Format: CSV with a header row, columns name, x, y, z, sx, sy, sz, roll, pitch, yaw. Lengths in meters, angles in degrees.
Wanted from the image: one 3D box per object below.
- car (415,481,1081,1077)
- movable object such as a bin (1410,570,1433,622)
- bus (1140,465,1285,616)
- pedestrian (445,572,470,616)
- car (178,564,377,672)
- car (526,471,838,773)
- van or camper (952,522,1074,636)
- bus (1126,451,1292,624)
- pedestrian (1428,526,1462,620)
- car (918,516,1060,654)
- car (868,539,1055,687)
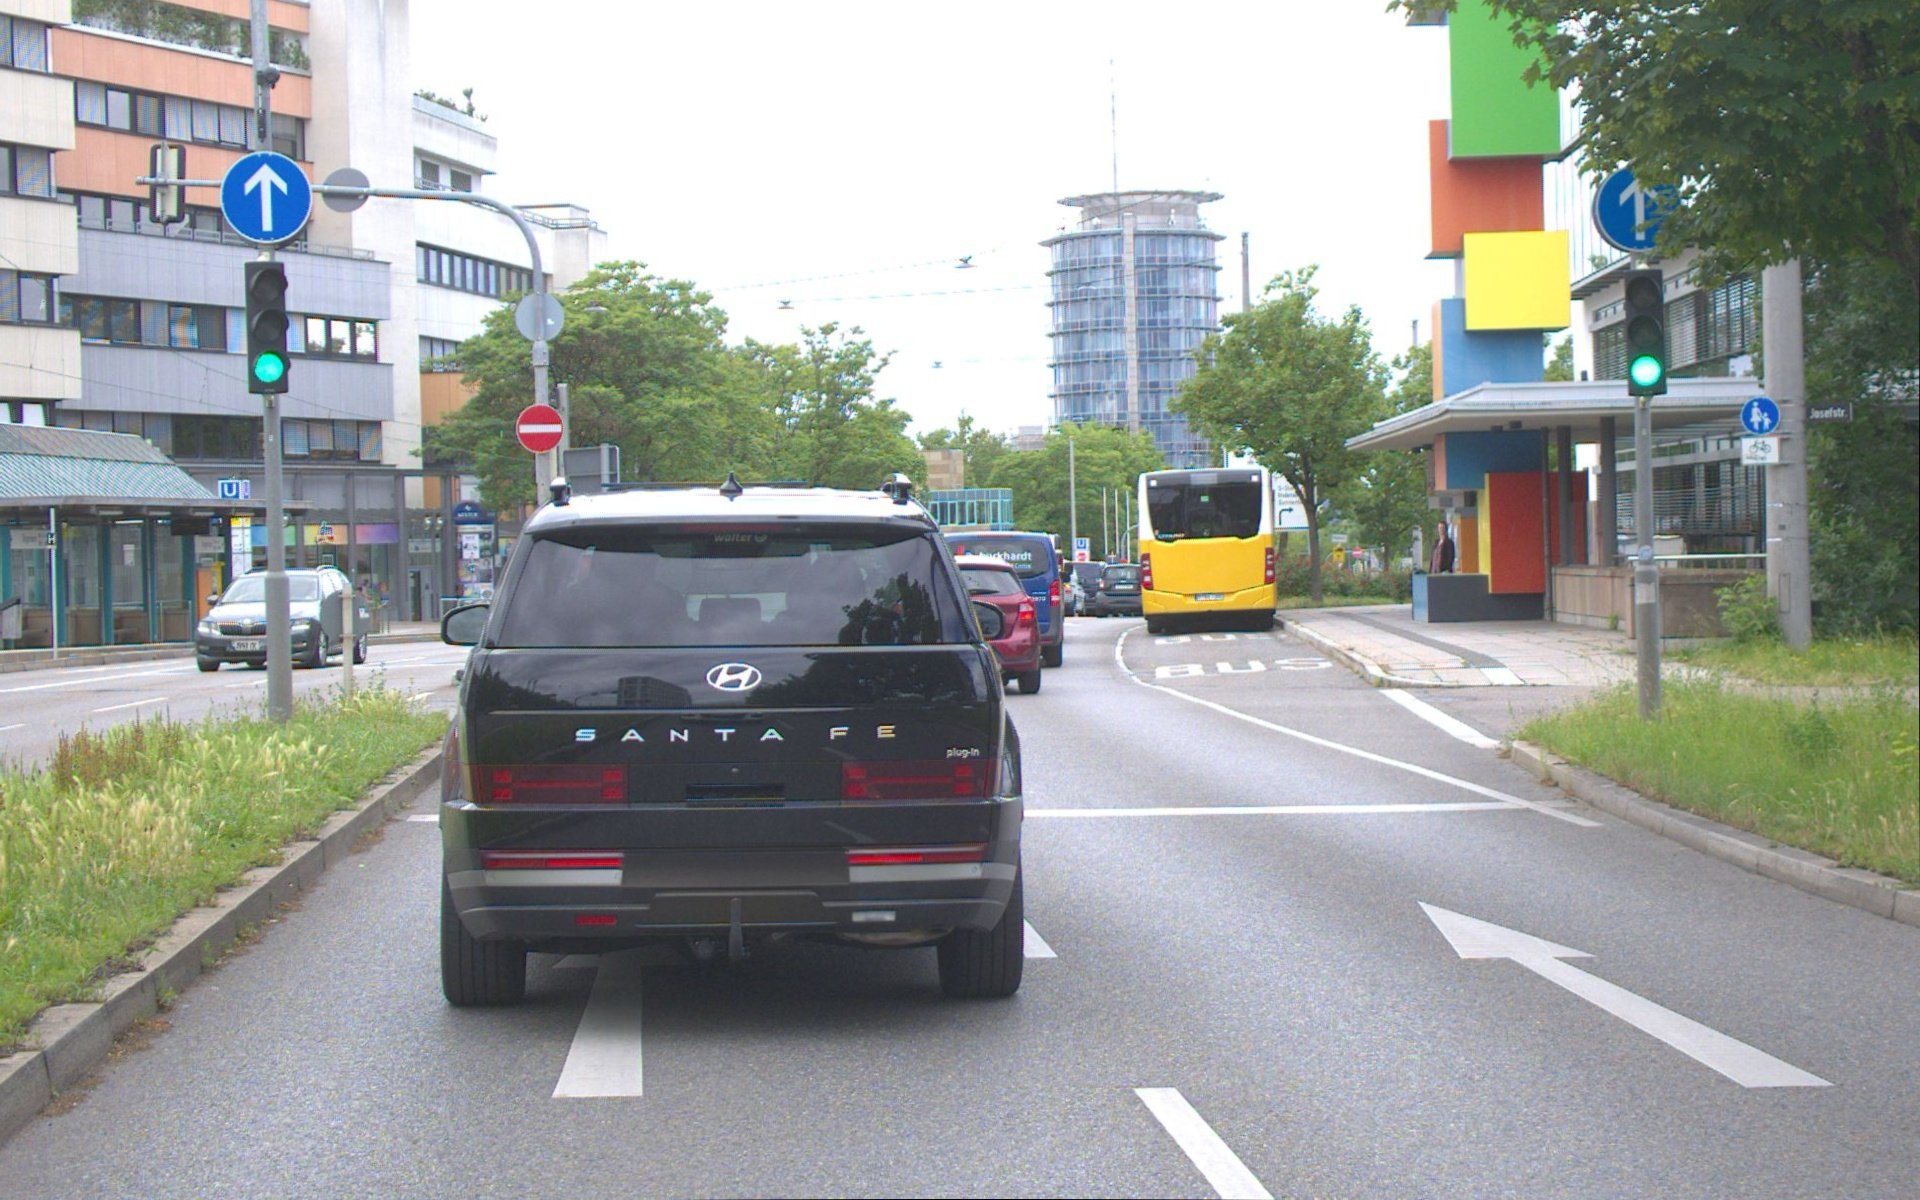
name,x,y,z,sx,sy,sz,roll,pitch,yaw
car,-0.955,0.464,12.292,1.901,1.725,4.448,0,1,-10
movable object such as a bin,8.141,-0.074,60.674,0.356,0.894,0.462,-1,0,4
bus,5.762,-1.301,78.003,2.952,3.101,9.974,-2,0,5
pedestrian,-19.070,-0.223,130.433,0.732,1.667,0.581,-1,0,27
car,-9.839,0.224,49.898,1.798,1.450,4.612,-1,1,2
car,-2.099,0.087,24.732,1.901,1.962,4.637,0,1,-9
van or camper,0.926,-0.417,62.354,1.993,1.911,4.410,0,2,-2
bus,5.007,-1.197,68.521,2.967,3.106,9.242,-2,0,5
pedestrian,8.642,-0.481,61.257,0.524,1.667,0.733,-1,0,4
car,0.401,-0.258,48.981,1.902,1.852,4.710,0,1,0
car,-0.045,0.100,38.934,1.902,1.537,4.710,0,1,-3
